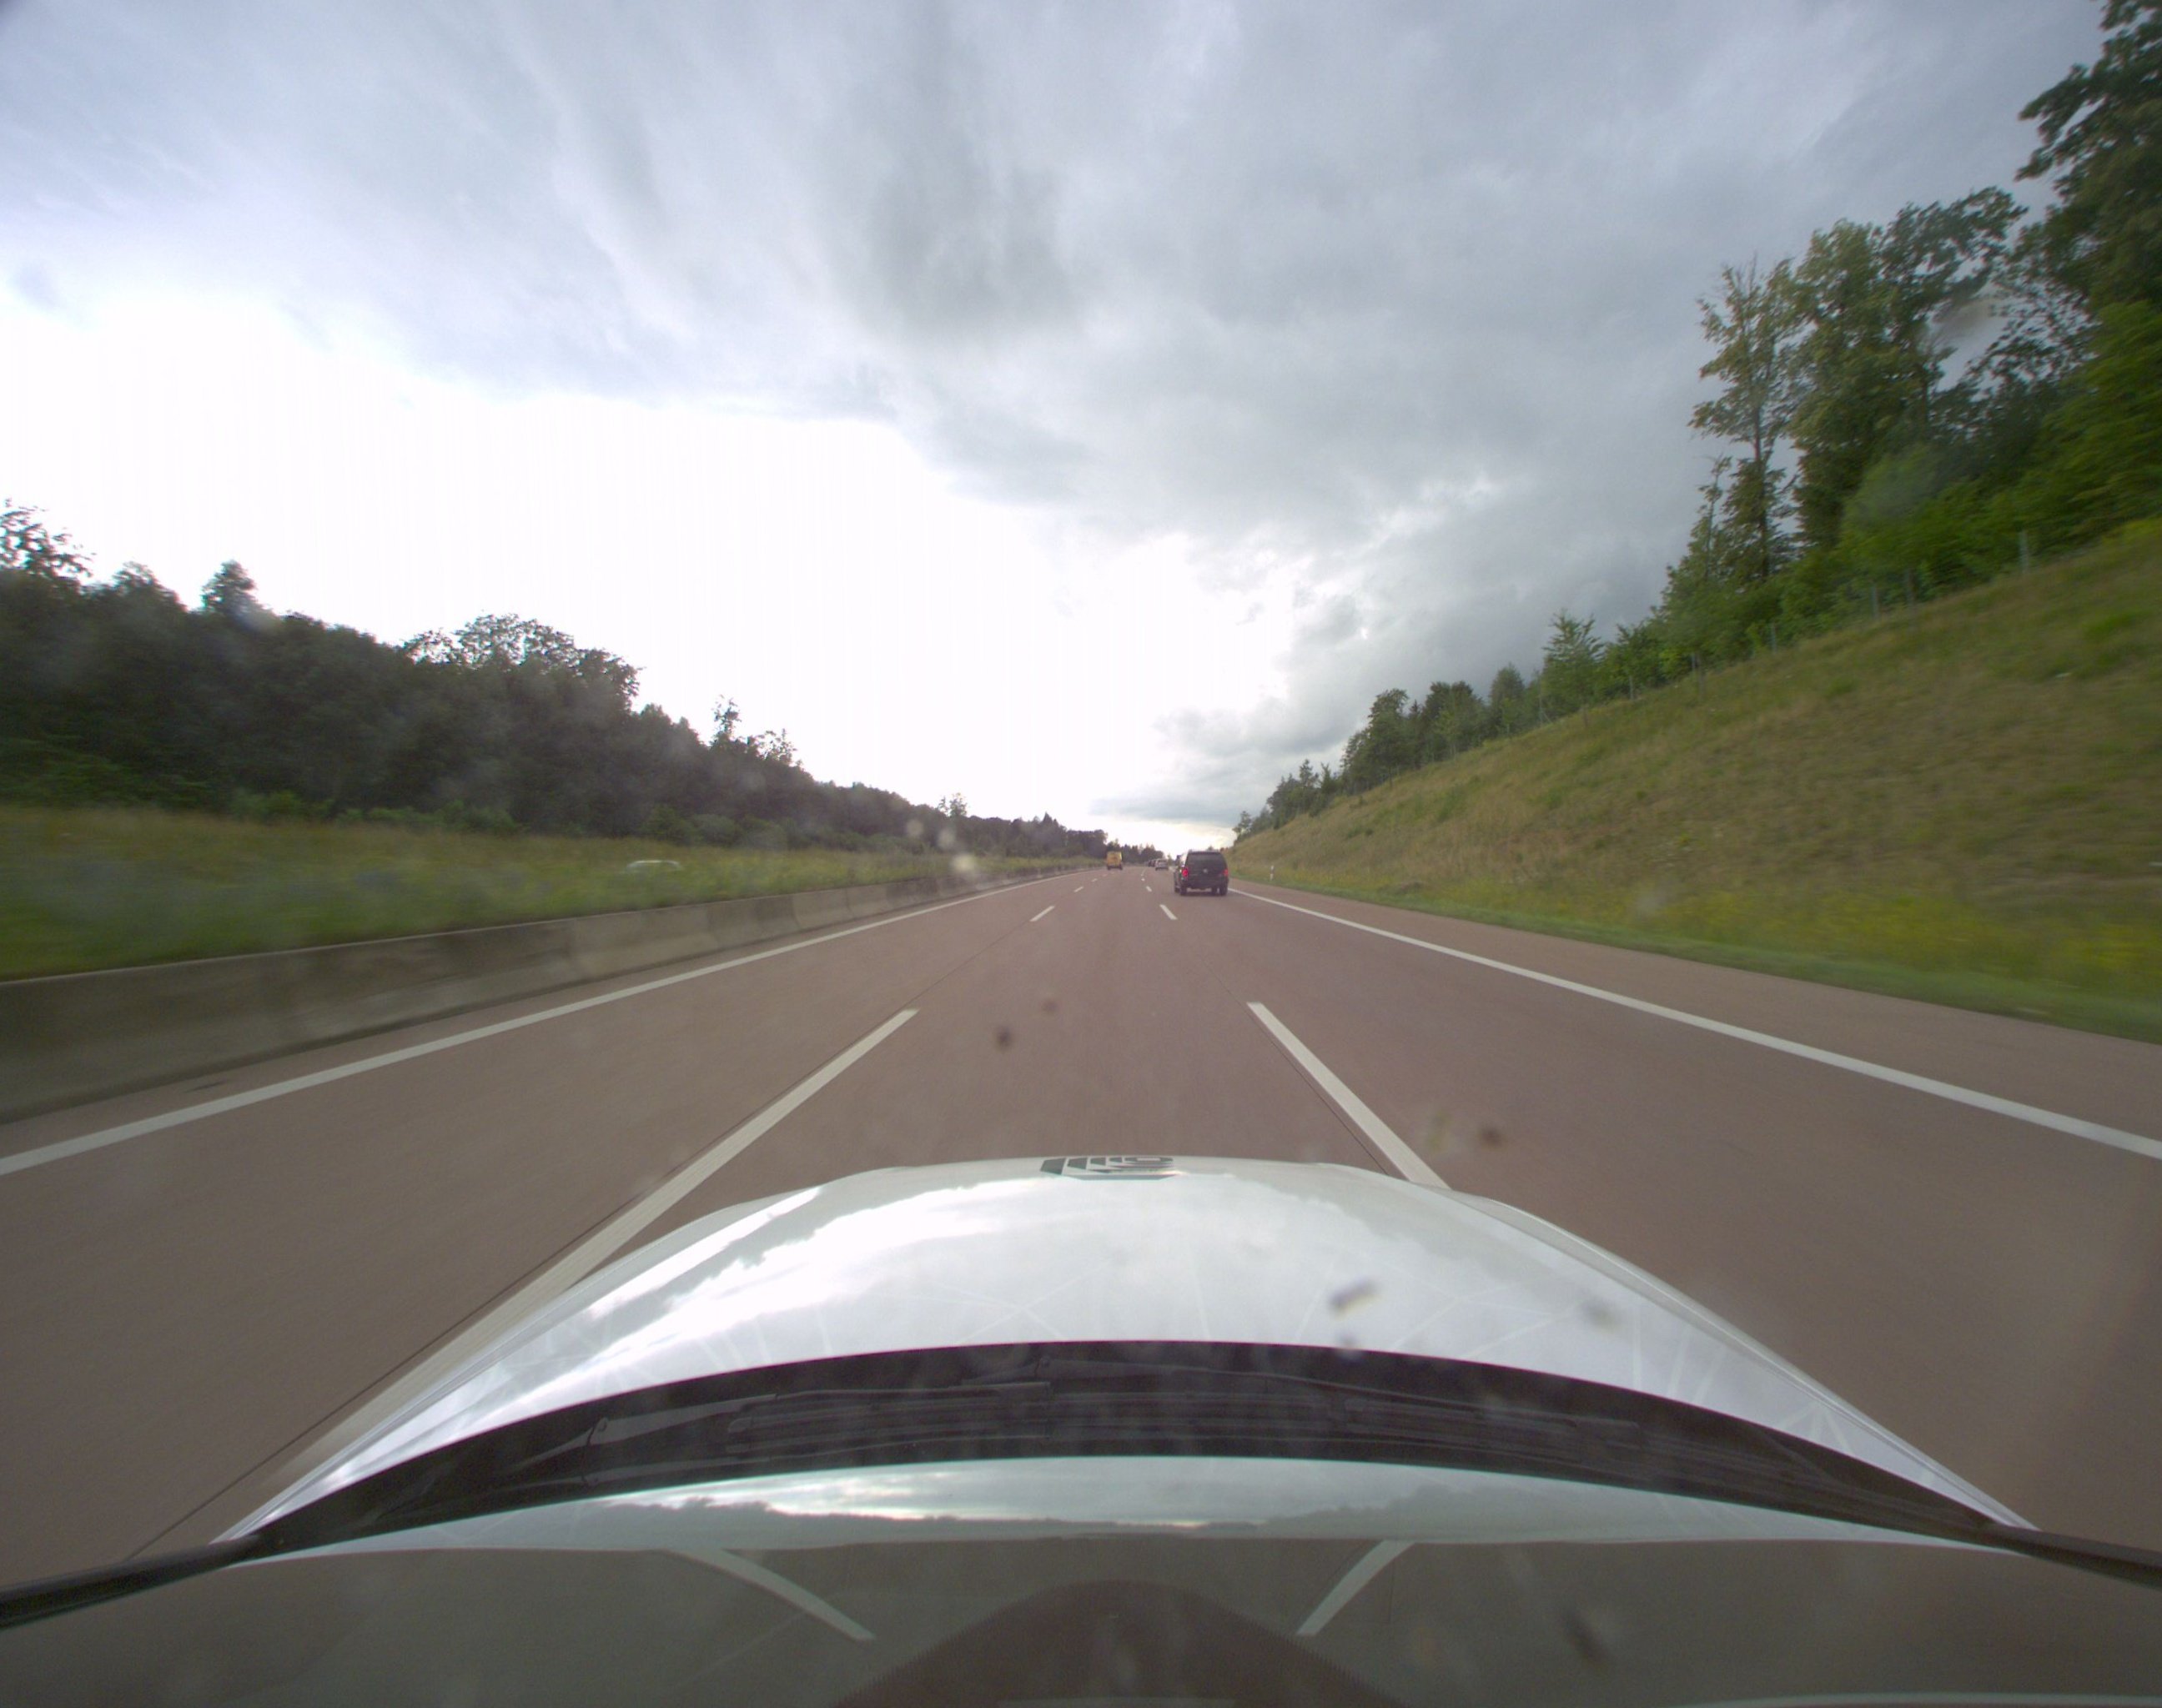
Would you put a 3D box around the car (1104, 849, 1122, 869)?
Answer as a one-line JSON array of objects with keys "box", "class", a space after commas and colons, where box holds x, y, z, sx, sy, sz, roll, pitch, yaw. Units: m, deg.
[{"box": [4.800, 0.781, 121.179, 2.448, 2.706, 5.619, -1, -1, 4], "class": "car"}]

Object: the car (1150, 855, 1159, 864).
[{"box": [16.208, 1.230, 179.782, 1.877, 1.764, 4.791, -1, -1, 7], "class": "car"}]

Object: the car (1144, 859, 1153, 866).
[{"box": [16.912, 2.112, 204.447, 1.876, 1.764, 5.011, -2, -1, 10], "class": "car"}]

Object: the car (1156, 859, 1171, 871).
[{"box": [11.317, 1.545, 111.258, 1.968, 1.648, 4.626, 0, -1, 6], "class": "car"}]

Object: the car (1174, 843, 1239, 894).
[{"box": [5.133, 0.611, 34.117, 2.036, 1.897, 5.579, -1, -1, 2], "class": "car"}]
